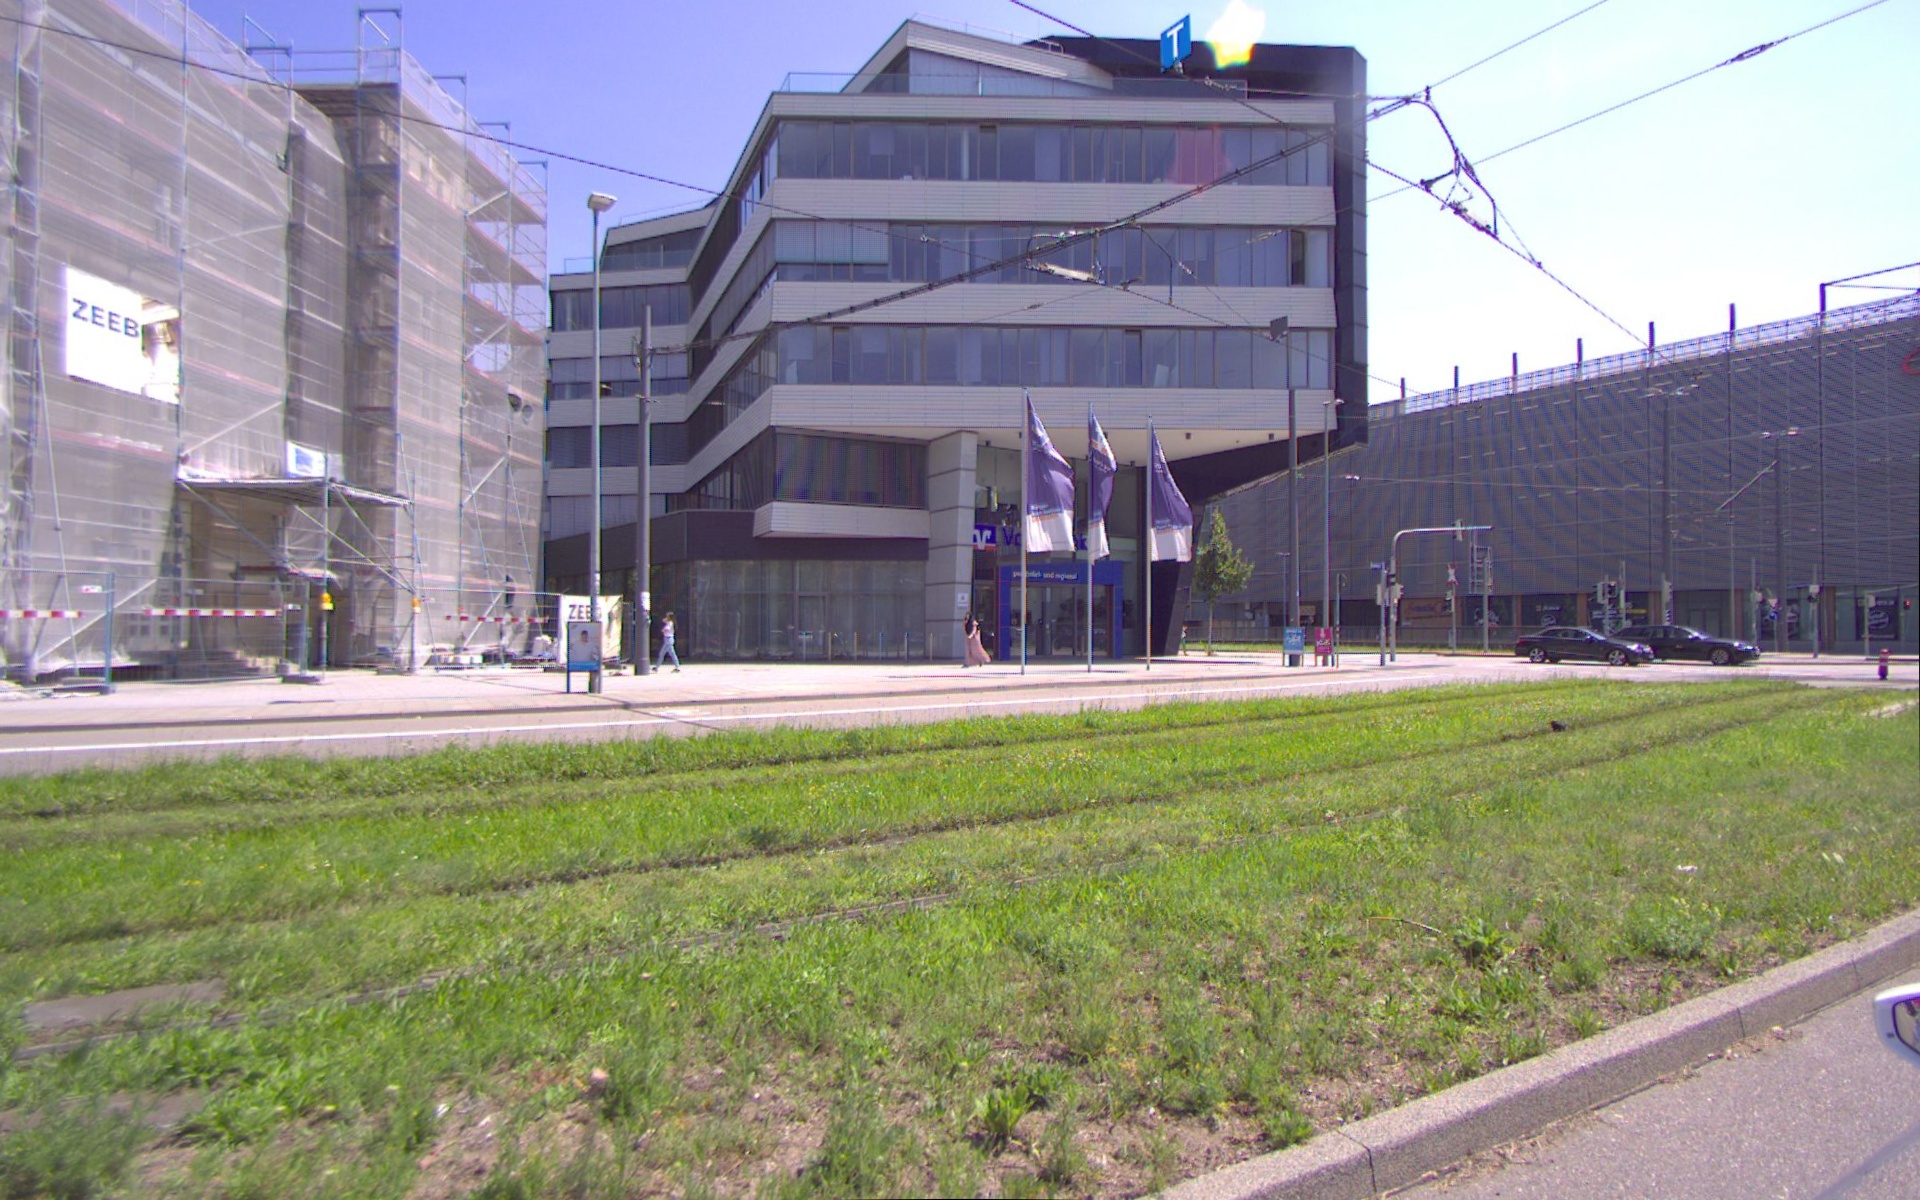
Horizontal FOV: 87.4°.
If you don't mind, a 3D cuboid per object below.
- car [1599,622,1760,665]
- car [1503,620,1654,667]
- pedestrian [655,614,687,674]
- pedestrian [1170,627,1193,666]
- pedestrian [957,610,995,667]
[{"bbox_3d":[27.567,1.624,38.629,1.871,1.480,4.727,0,0,-38],"label":"car"},{"bbox_3d":[23.418,1.603,38.173,1.983,1.597,4.513,0,0,-38],"label":"car"},{"bbox_3d":[-7.524,1.127,26.146,0.577,1.539,0.581,0,0,15],"label":"pedestrian"},{"bbox_3d":[10.345,2.137,46.894,0.887,1.770,0.977,0,0,24],"label":"pedestrian"},{"bbox_3d":[0.466,1.133,29.724,0.903,1.652,0.744,0,0,-25],"label":"pedestrian"}]
